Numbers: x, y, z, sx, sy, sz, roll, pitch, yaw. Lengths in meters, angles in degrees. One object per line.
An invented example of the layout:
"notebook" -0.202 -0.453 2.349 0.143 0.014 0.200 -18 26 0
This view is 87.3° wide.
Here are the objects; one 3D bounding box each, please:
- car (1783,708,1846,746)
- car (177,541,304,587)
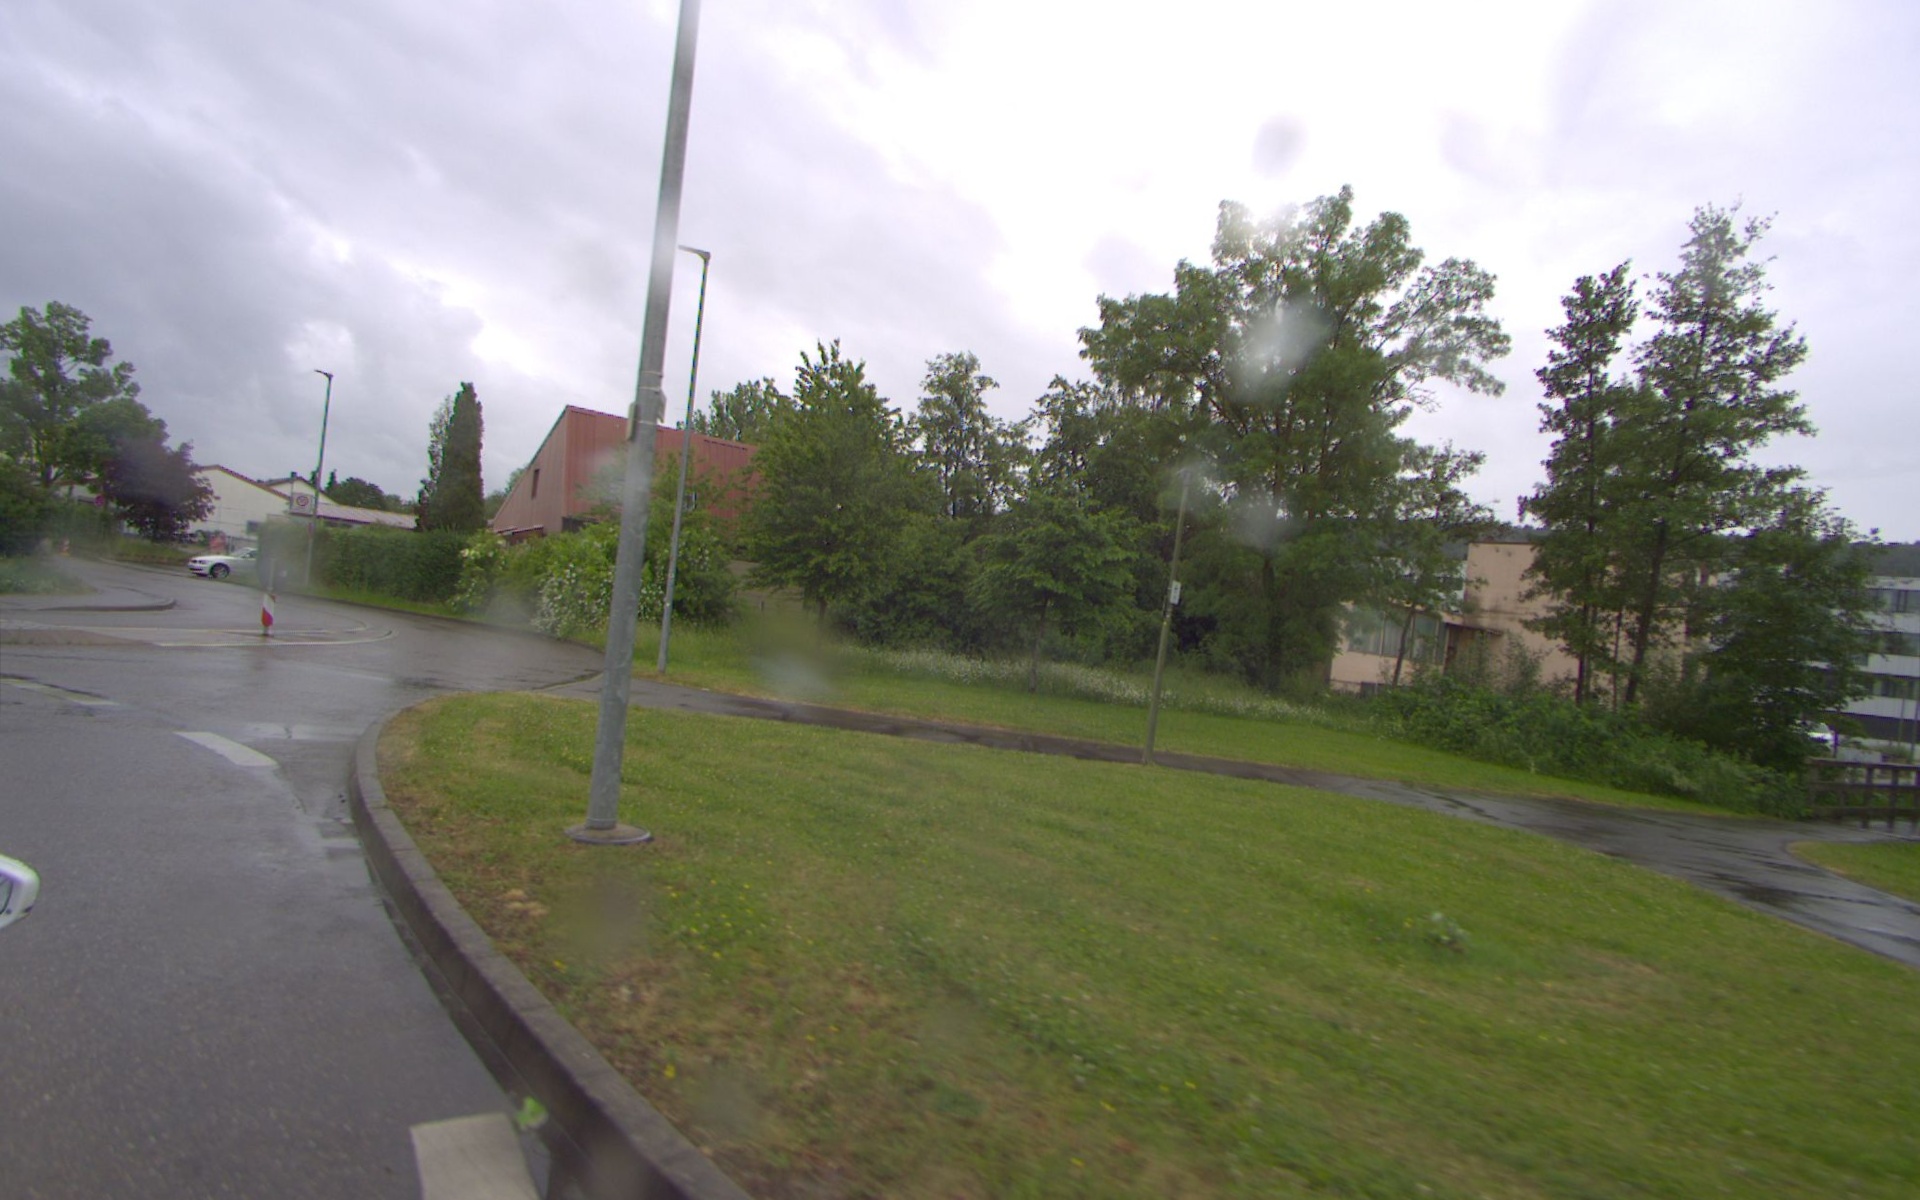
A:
"car" 57.342 8.487 67.583 1.964 2.038 3.999 5 -1 23
"car" -30.840 -1.513 43.226 1.757 1.389 3.990 5 -3 36
